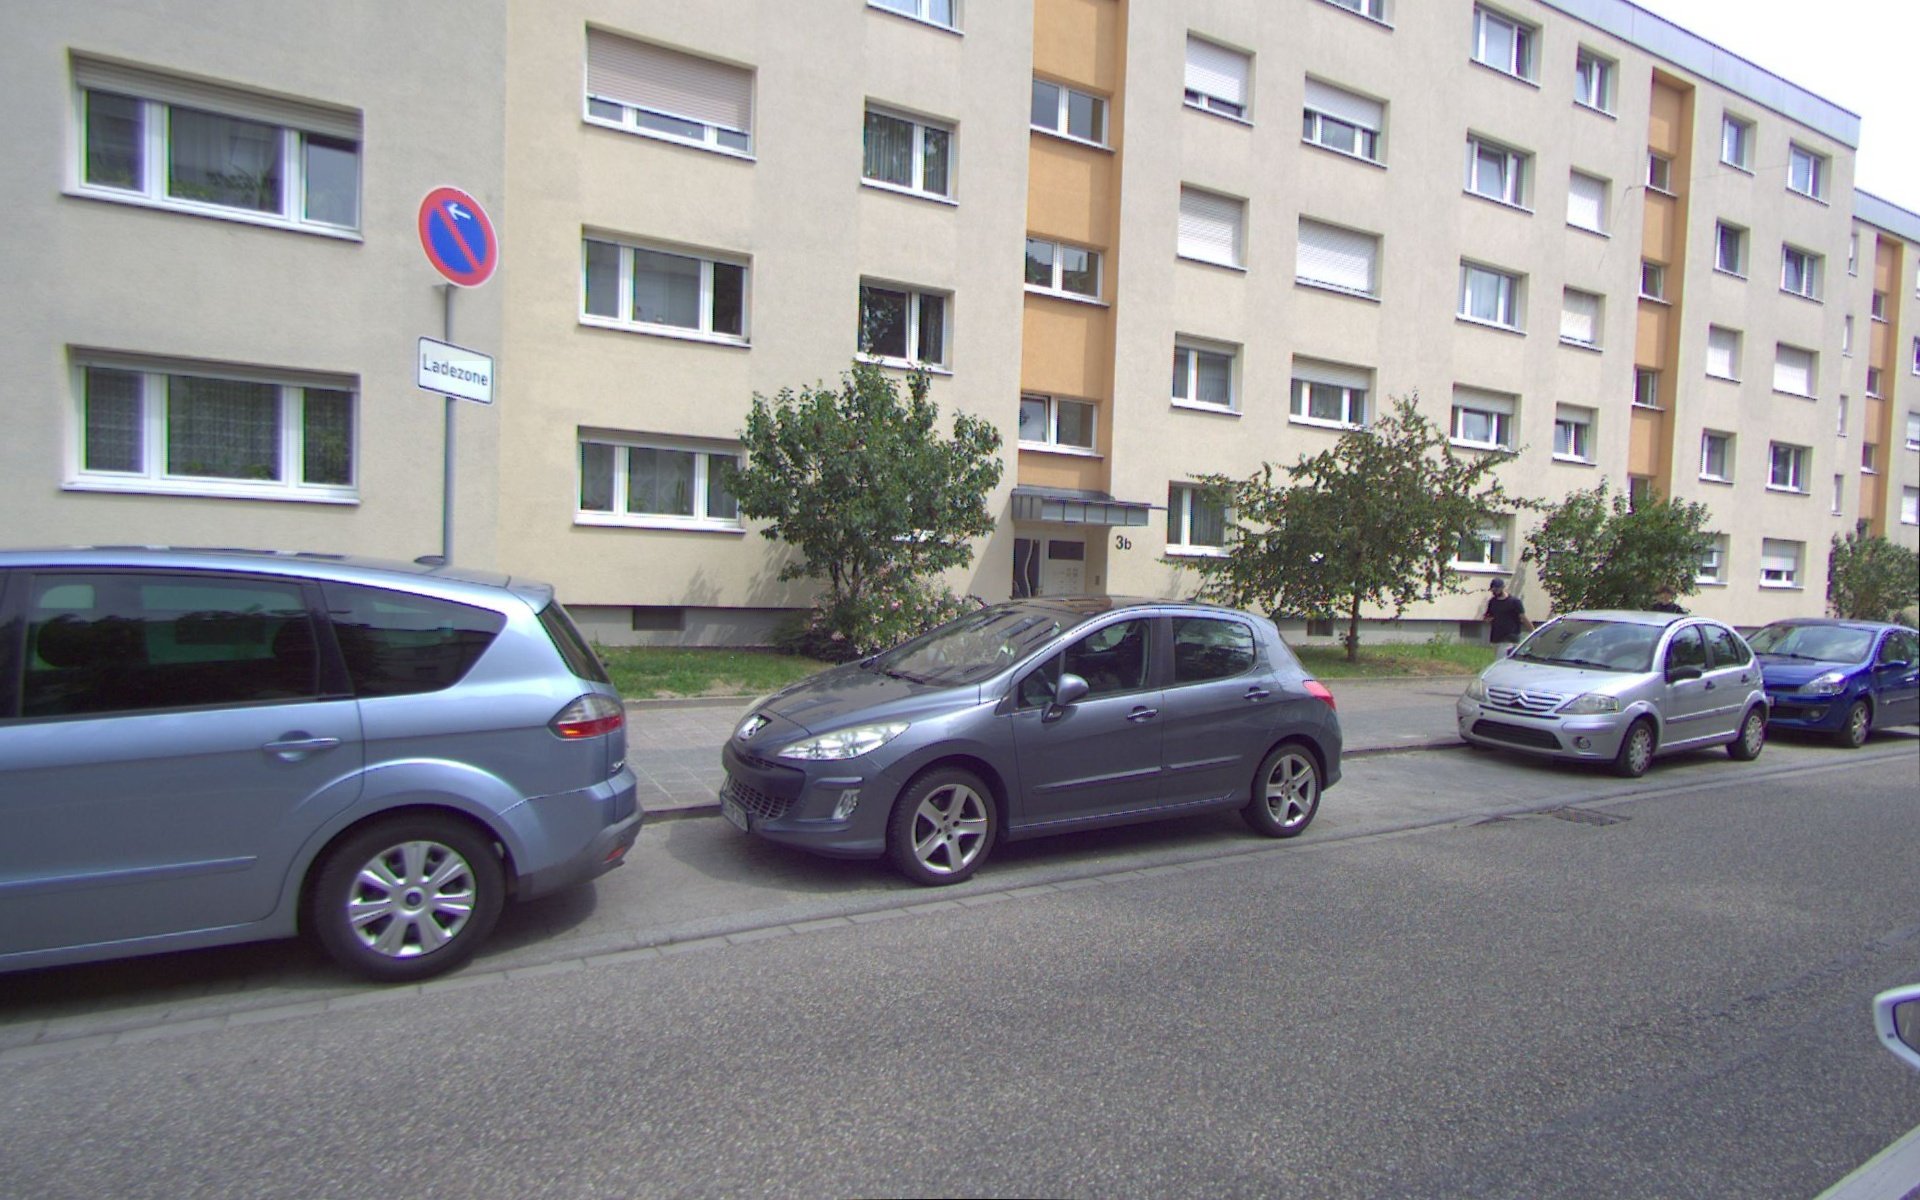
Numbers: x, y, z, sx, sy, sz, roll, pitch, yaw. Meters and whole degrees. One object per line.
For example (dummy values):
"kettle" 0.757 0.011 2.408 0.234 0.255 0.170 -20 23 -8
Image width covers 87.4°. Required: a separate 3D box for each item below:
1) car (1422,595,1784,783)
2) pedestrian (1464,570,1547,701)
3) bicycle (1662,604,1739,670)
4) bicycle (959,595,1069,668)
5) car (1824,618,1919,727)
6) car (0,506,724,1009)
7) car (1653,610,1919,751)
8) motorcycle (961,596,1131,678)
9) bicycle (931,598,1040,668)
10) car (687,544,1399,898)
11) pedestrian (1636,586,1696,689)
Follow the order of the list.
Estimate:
"car" 6.830 0.827 10.592 3.808 1.583 1.661 1 3 -32
"pedestrian" 7.988 0.506 14.713 0.889 1.837 0.616 1 2 -33
"bicycle" 16.760 0.821 22.713 2.102 1.412 0.460 0 2 -27
"bicycle" 0.796 0.455 14.653 1.597 0.999 0.438 1 2 -31
"car" 15.687 1.132 15.808 4.066 1.503 1.810 2 3 -29
"car" -3.604 0.460 4.061 4.802 1.634 1.933 2 3 -29
"car" 11.177 0.975 13.205 3.837 1.503 1.810 2 2 -29
"motorcycle" 1.176 0.492 13.441 2.291 0.999 0.658 1 2 -31
"bicycle" 0.399 0.505 15.367 1.654 0.999 0.438 1 2 -31
"car" 0.609 0.567 6.558 4.251 1.634 1.933 2 3 -30
"pedestrian" 13.029 0.679 18.537 0.795 1.837 0.616 1 1 -33
